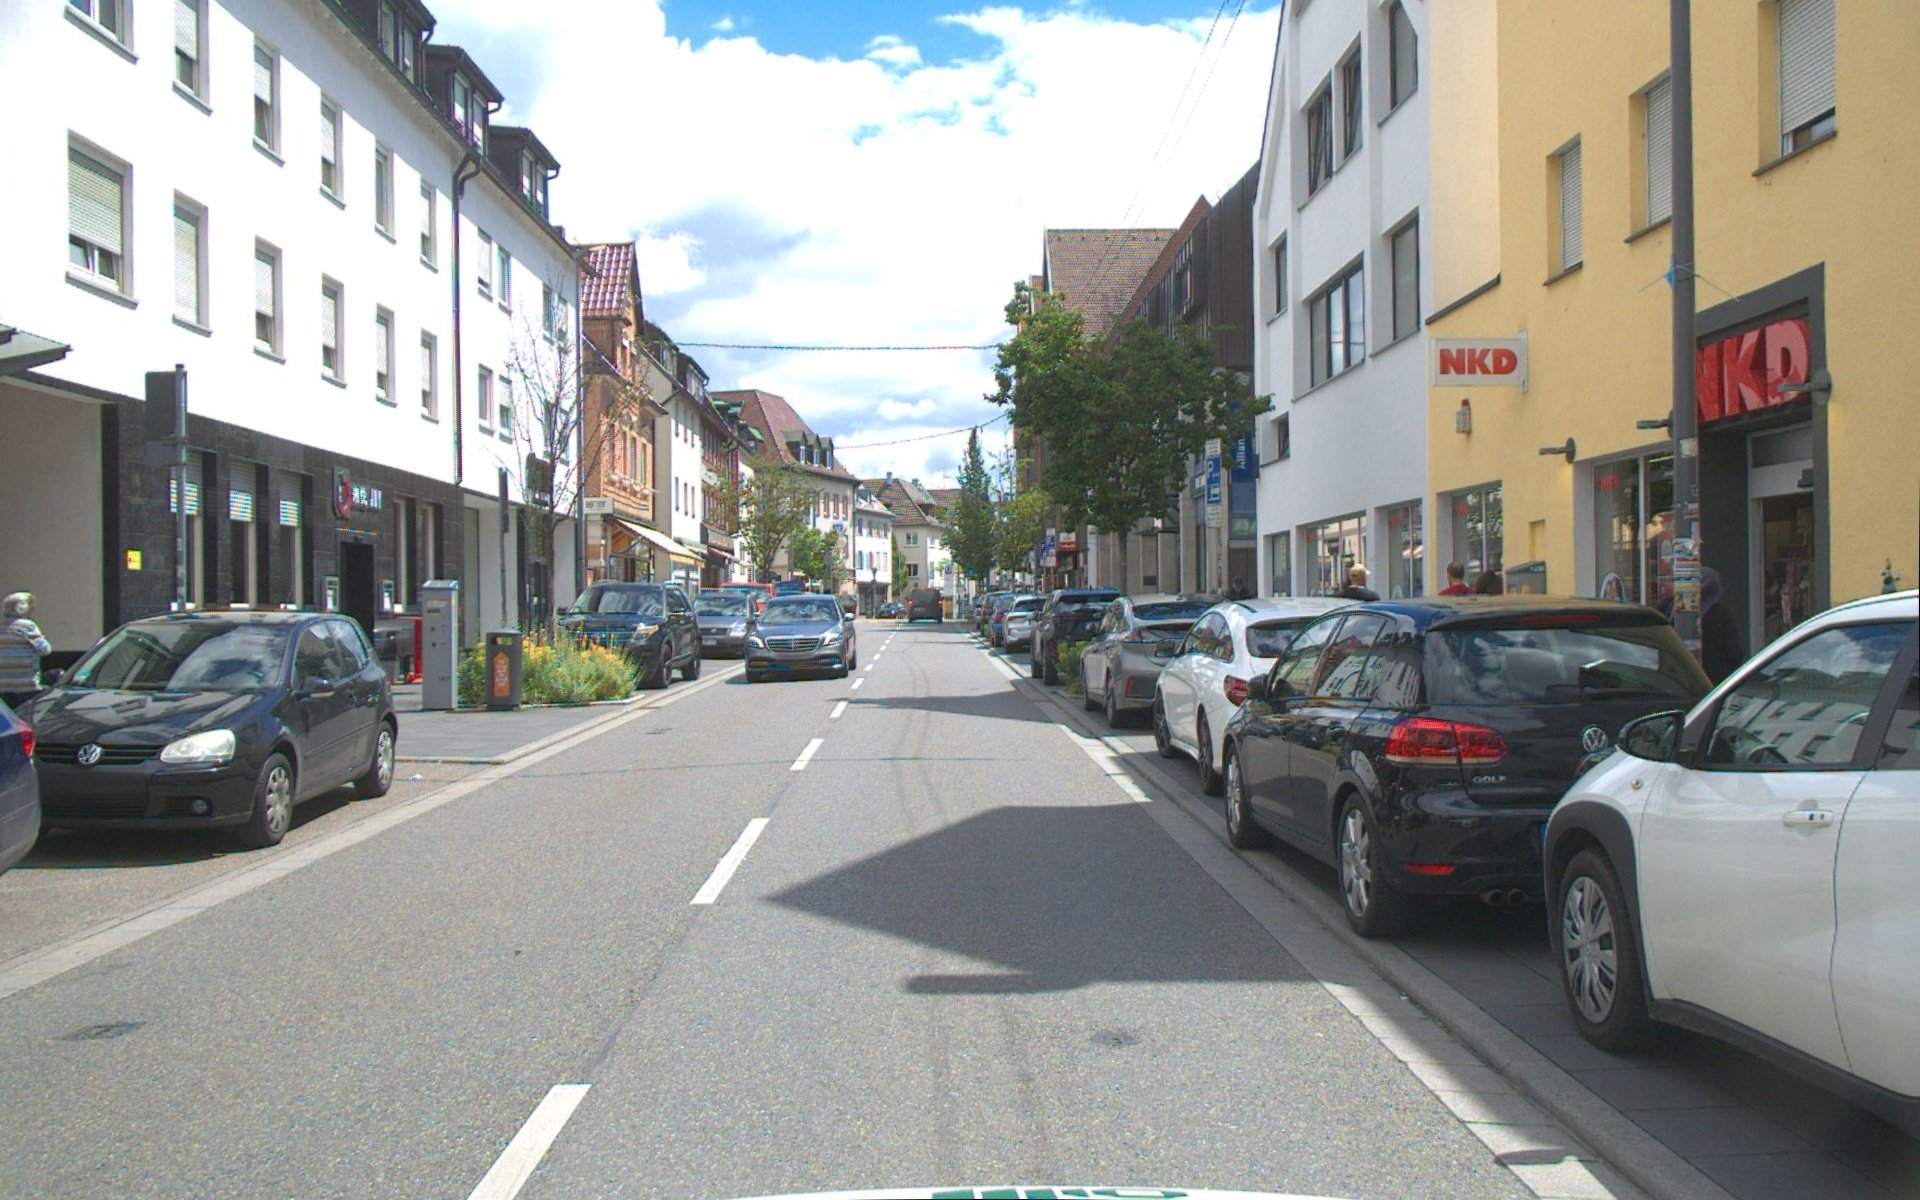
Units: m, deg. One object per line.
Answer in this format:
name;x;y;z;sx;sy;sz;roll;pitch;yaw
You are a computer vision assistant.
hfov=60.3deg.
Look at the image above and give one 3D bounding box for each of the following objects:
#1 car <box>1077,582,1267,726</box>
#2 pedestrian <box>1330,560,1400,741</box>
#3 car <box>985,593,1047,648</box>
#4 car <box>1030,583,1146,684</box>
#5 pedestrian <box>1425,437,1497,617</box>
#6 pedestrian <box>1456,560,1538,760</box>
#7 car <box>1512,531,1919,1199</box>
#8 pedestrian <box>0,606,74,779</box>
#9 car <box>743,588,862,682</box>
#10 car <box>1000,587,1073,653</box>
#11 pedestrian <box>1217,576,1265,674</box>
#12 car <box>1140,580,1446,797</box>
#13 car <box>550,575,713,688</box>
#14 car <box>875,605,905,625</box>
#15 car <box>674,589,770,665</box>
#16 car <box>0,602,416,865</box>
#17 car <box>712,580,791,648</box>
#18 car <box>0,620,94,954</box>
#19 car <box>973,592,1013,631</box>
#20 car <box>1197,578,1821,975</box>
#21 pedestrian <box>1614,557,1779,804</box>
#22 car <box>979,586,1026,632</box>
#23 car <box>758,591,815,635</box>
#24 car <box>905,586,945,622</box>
car;2.399;0.596;19.663;1.686;1.502;4.353;1;-1;0
pedestrian;4.278;0.529;17.508;0.576;1.873;0.576;1;-1;-1
car;1.608;0.605;48.695;1.686;1.520;4.108;1;-1;0
car;2.151;0.560;28.730;1.686;1.604;4.108;1;-1;0
pedestrian;5.325;-0.764;17.594;0.576;1.873;0.576;1;-1;-1
pedestrian;5.158;0.568;15.912;0.576;1.873;0.576;1;-1;-1
car;2.968;0.666;4.391;1.655;1.601;3.755;1;-1;-2
pedestrian;-8.275;0.799;14.538;0.641;1.480;0.563;1;-1;-1
car;-2.910;0.604;31.535;1.867;1.590;4.645;-1;1;-1
car;1.969;0.519;43.373;1.686;1.604;4.428;1;-1;0
pedestrian;5.170;0.460;30.447;0.726;1.768;0.757;1;-1;-1
car;2.619;0.650;14.124;1.597;1.502;4.957;1;-1;0
car;-5.640;0.529;28.964;1.778;1.786;4.669;1;-1;1
car;-5.529;1.197;130.968;1.590;1.512;3.808;1;-1;10
car;-5.981;0.680;42.033;1.779;1.786;4.463;1;-1;0
car;-5.317;0.794;11.830;1.755;1.529;4.174;1;0;-5
car;-6.209;0.438;49.663;1.779;1.922;4.840;1;-1;-1
car;-5.279;0.845;6.079;1.753;1.539;4.711;0;-1;-1
car;1.398;0.480;71.762;1.577;1.521;3.794;-4;0;0
car;2.498;0.675;8.796;1.655;1.497;4.522;1;1;-2
pedestrian;4.908;0.524;11.064;0.734;1.580;0.725;-1;-1;-2
car;1.494;0.310;59.640;1.576;1.559;3.794;-2;0;0
car;-6.531;0.472;62.464;1.763;1.626;4.388;0;0;-1
car;-1.943;0.233;89.723;2.000;1.881;4.996;1;-1;-3
